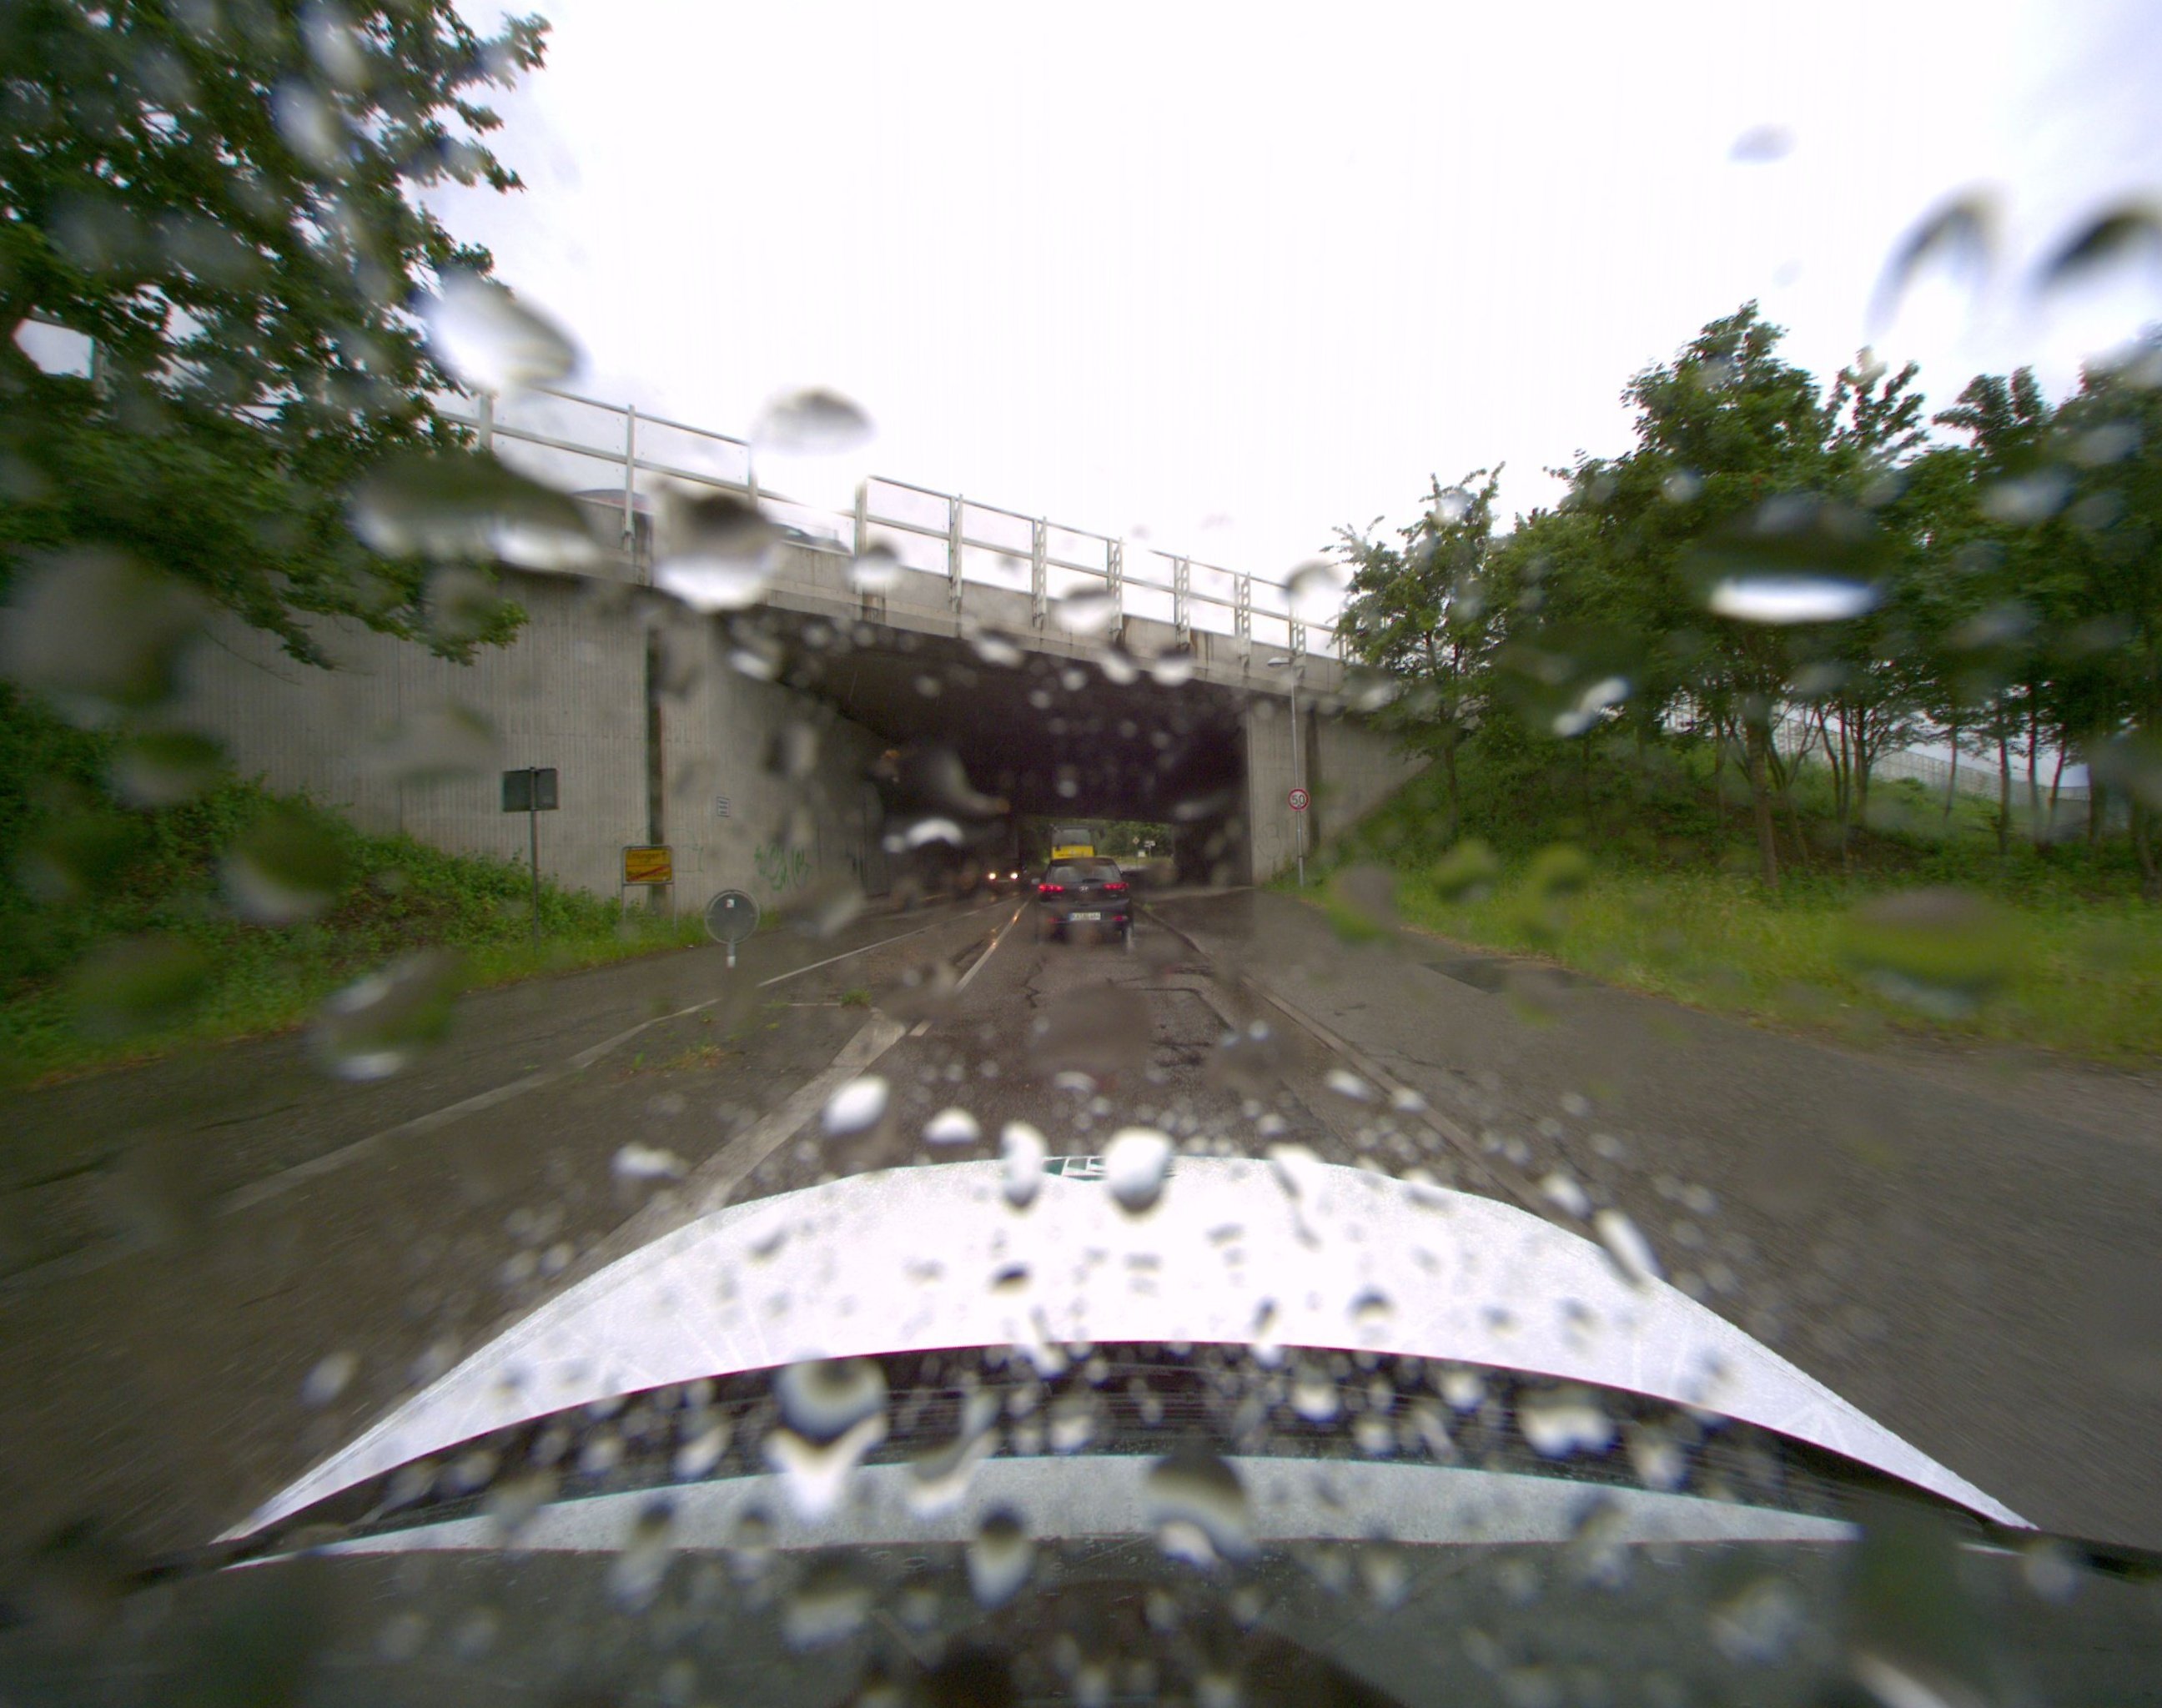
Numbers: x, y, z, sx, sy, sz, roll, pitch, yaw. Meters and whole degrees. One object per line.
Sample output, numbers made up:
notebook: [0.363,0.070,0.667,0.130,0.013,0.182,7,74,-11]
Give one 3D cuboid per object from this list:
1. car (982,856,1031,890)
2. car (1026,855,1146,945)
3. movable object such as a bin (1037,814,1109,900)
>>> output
car: [-3.458,0.854,38.619,1.683,1.487,4.076,-1,0,4]
car: [0.096,0.771,15.468,1.987,1.487,4.000,0,0,0]
movable object such as a bin: [-0.229,0.116,28.751,2.238,2.669,6.626,0,0,0]
